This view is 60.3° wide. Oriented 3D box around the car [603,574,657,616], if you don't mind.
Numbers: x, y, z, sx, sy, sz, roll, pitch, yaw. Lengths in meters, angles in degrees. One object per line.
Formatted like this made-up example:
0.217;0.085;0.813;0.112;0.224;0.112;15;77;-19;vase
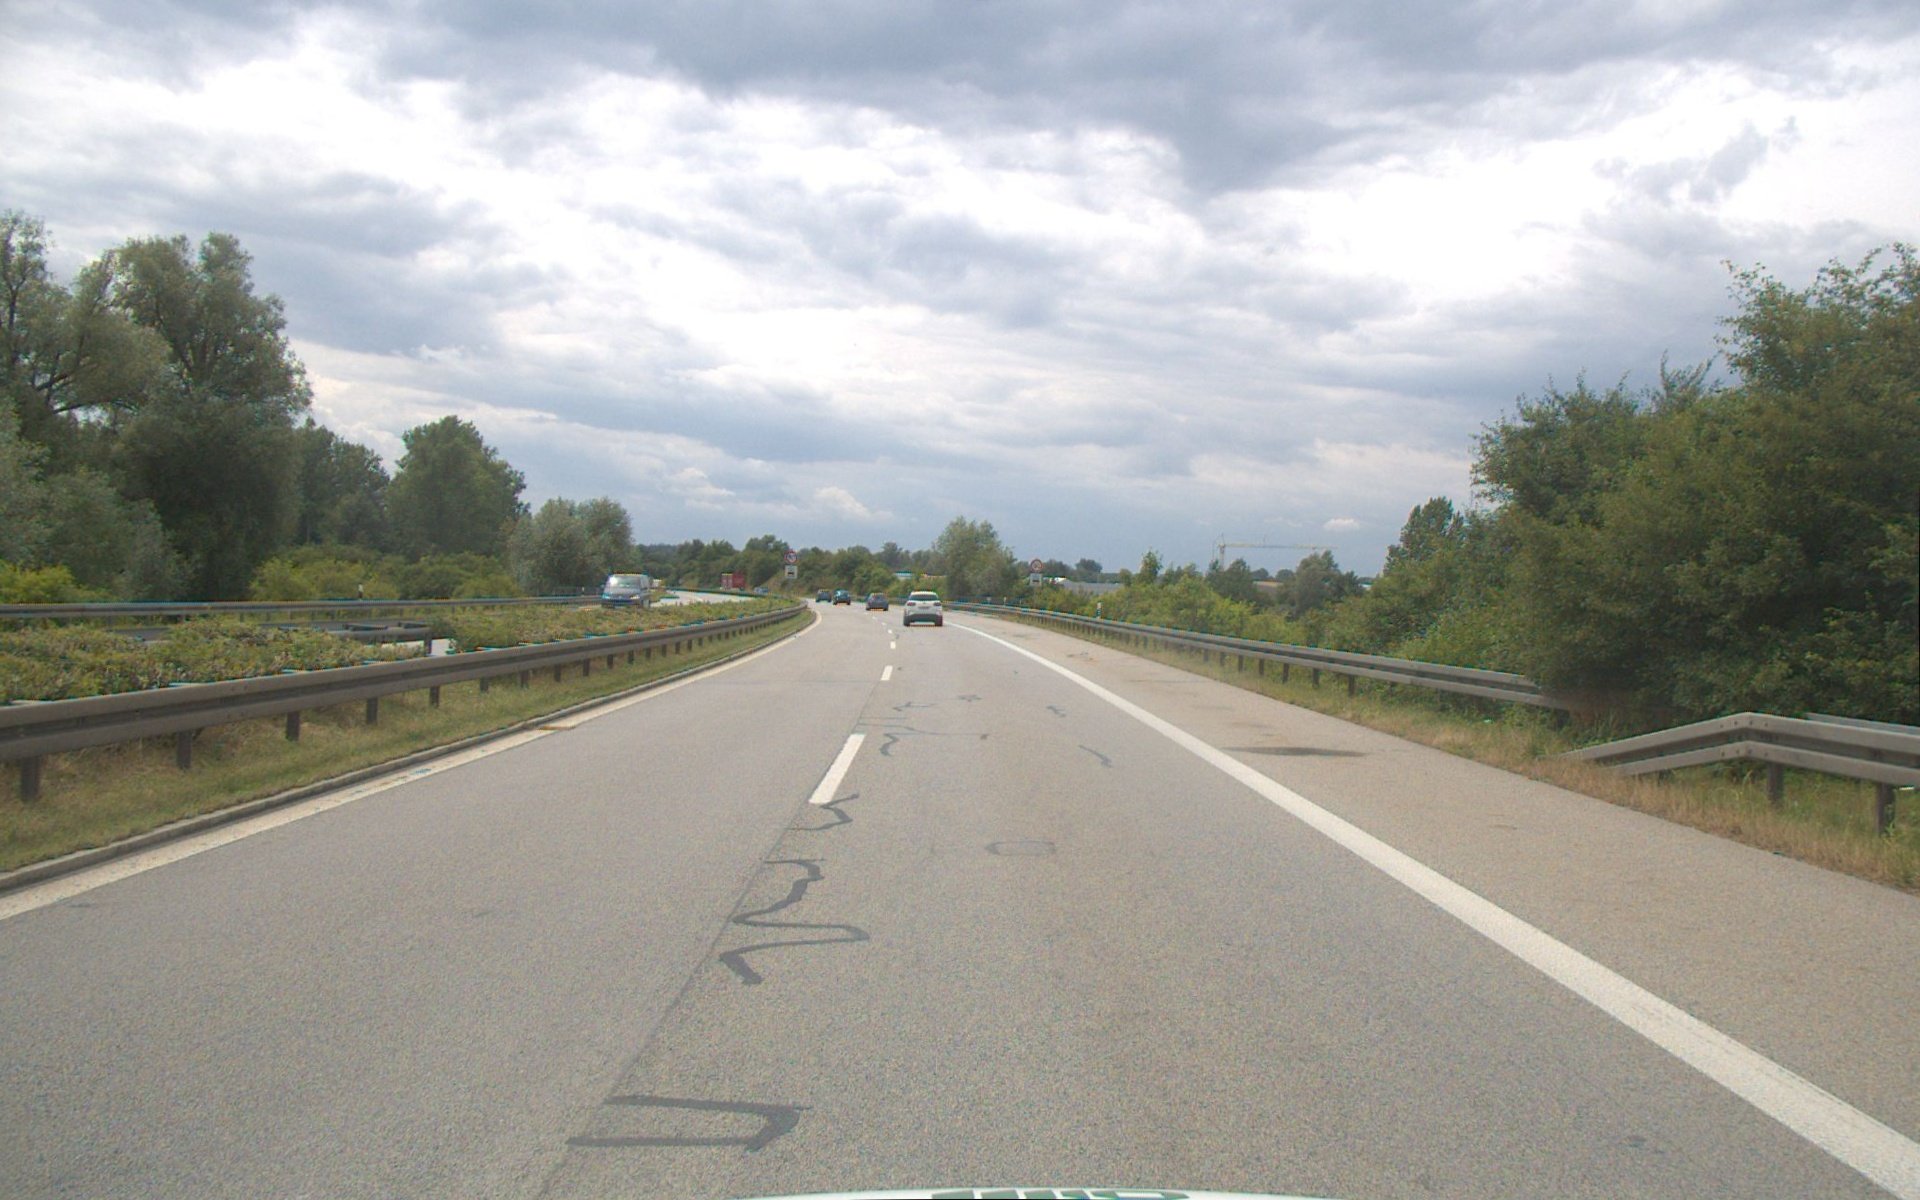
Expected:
-15.949;-0.261;80.203;1.666;1.917;5.226;2;0;-2;car

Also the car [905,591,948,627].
-1.670;0.424;81.189;1.865;1.668;4.393;2;0;-4;car

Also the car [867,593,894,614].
-6.707;0.255;139.830;1.857;1.668;4.613;2;0;-8;car

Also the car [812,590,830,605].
-17.656;-0.321;210.305;1.794;1.825;4.402;-1;1;-10;car

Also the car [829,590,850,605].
-13.360;-0.266;183.497;1.868;1.668;4.769;-1;1;-10;car
